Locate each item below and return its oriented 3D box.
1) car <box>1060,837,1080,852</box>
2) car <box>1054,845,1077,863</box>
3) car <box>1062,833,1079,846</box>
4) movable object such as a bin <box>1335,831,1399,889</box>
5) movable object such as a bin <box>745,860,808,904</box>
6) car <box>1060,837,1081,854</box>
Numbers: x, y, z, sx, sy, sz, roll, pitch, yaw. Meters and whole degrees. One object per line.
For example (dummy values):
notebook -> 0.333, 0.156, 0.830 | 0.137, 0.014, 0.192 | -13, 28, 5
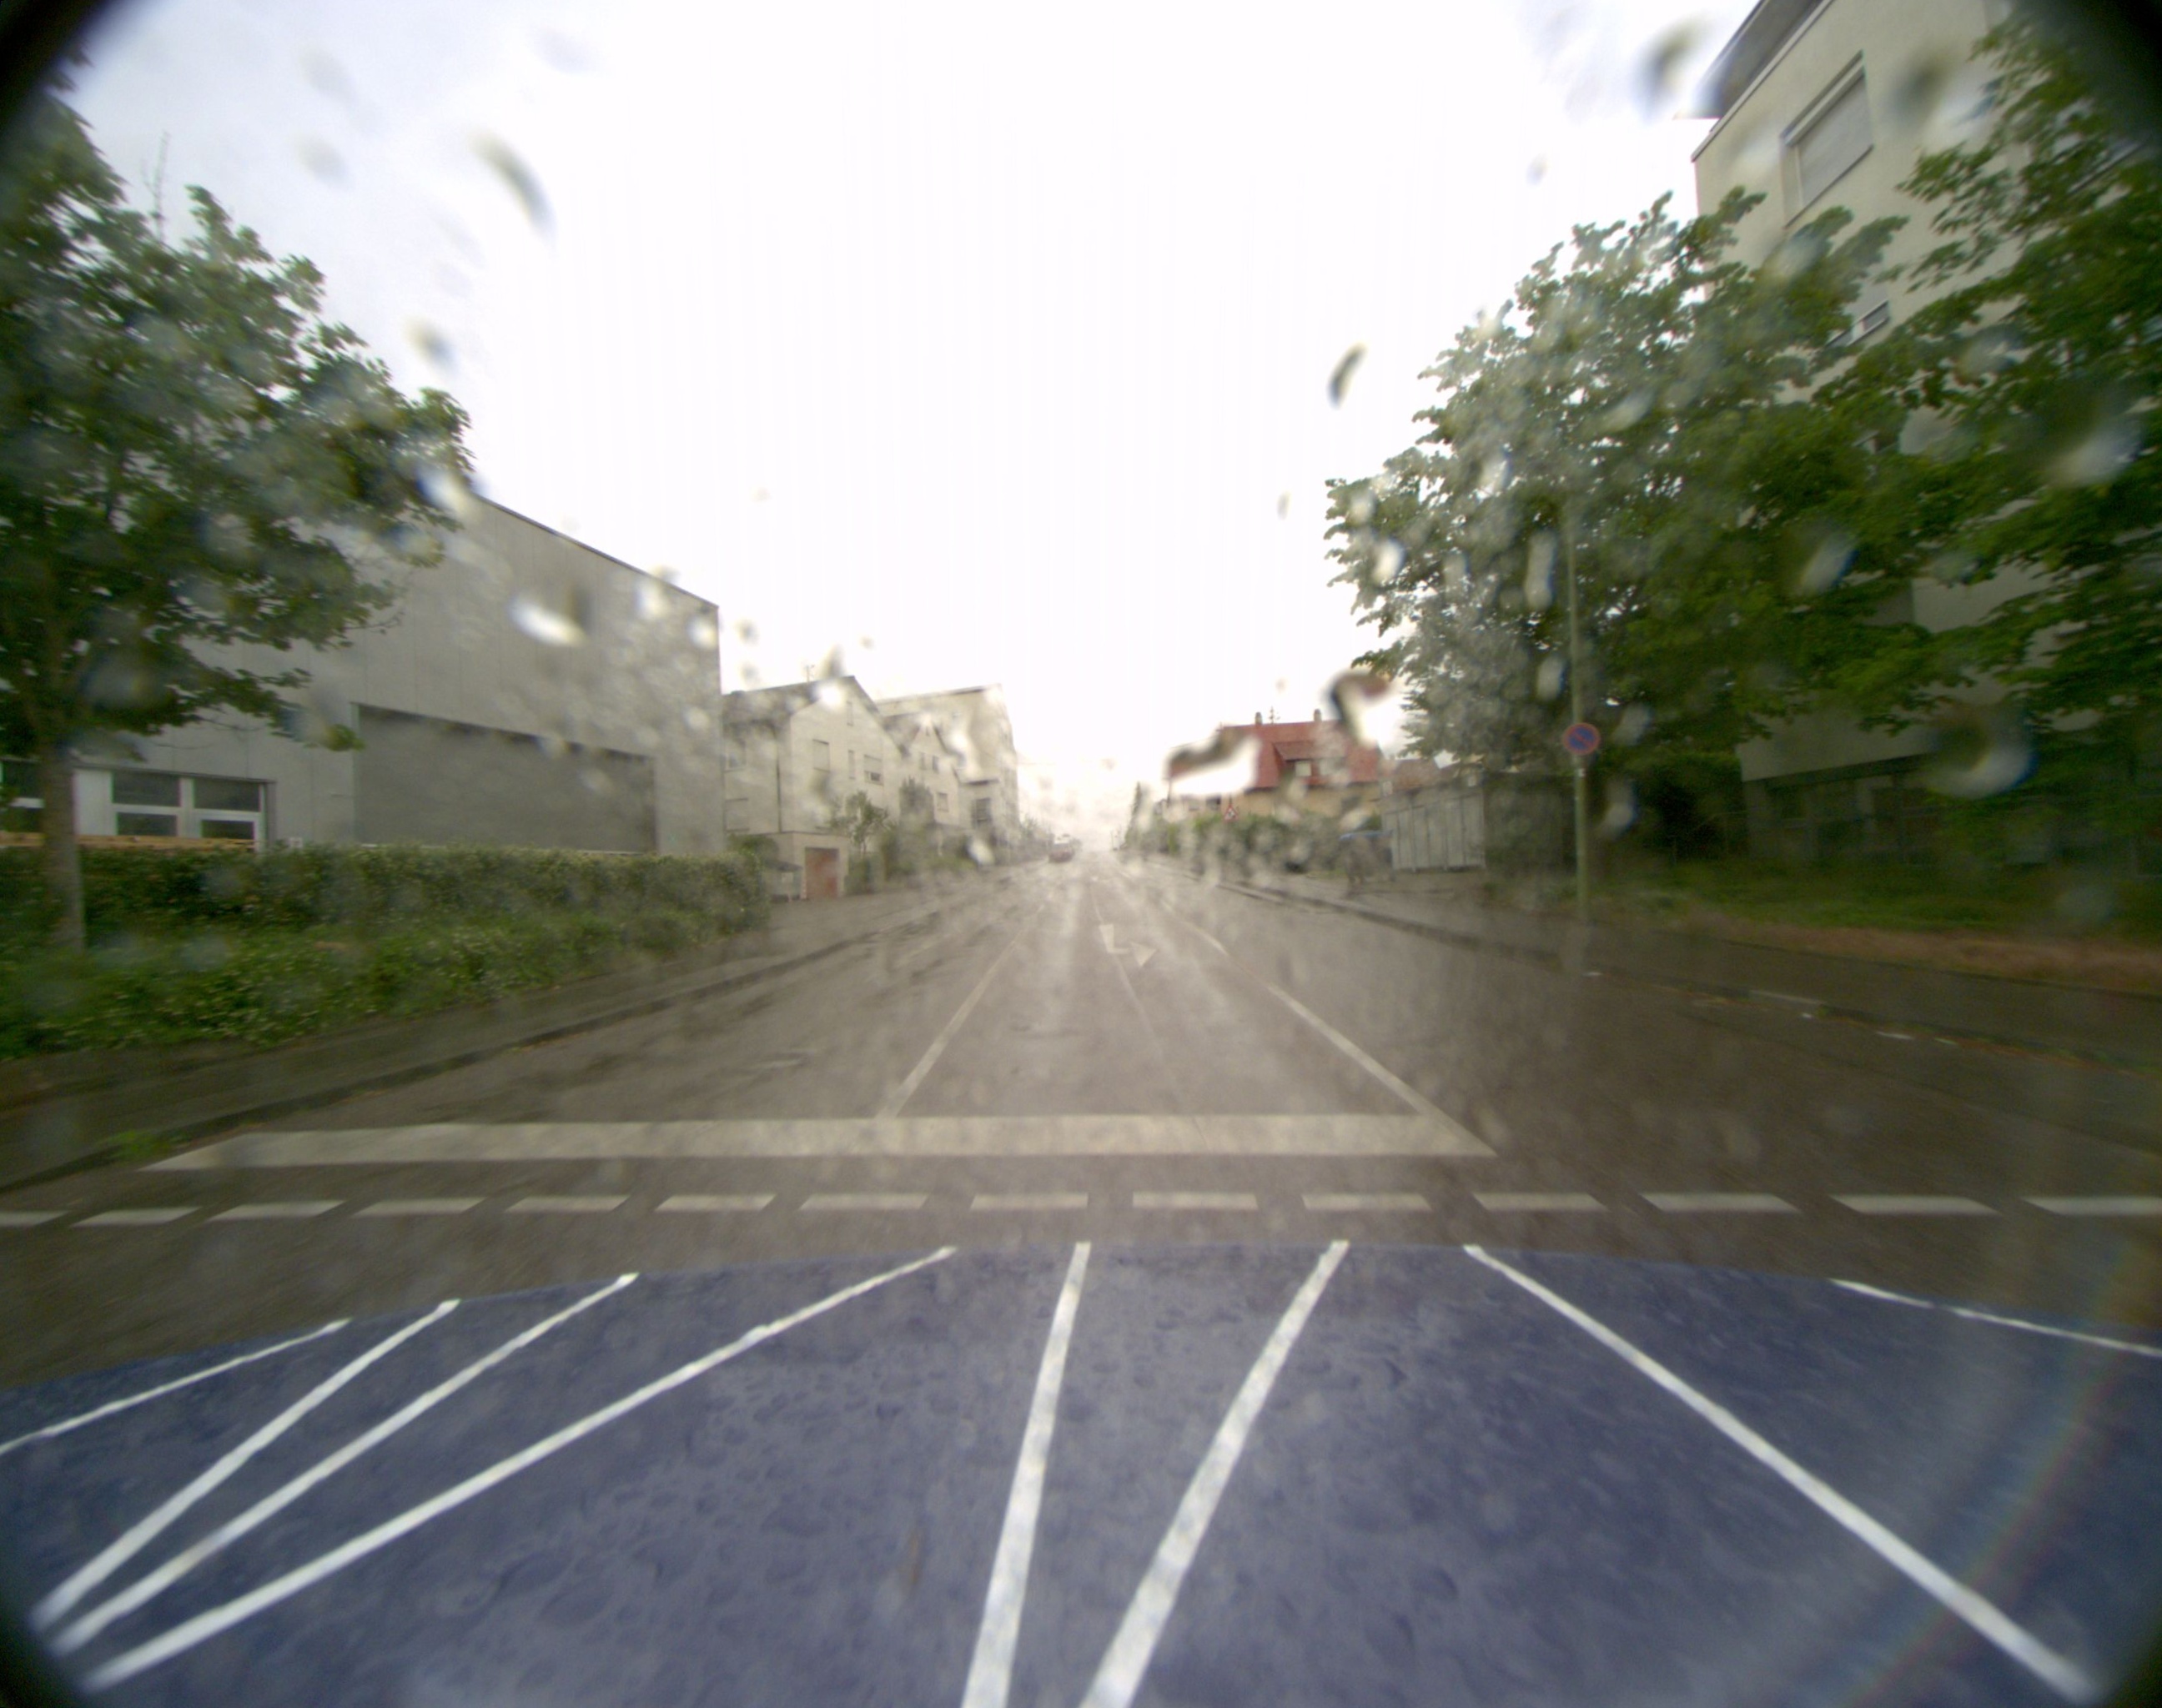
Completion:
car -> -1.175, -0.995, 82.911 | 1.848, 1.514, 4.000 | -3, 1, 2
car -> -1.416, -0.026, 70.293 | 1.848, 1.514, 4.000 | -3, 1, 2
car -> -1.298, -1.764, 95.148 | 1.848, 1.514, 4.000 | -3, 1, 2
movable object such as a bin -> 7.291, 0.150, 19.439 | 1.056, 1.289, 1.201 | -8, 0, 1
movable object such as a bin -> -11.362, 1.037, 28.369 | 1.446, 1.526, 1.591 | -2, 0, 16
car -> -0.991, -0.857, 75.427 | 1.848, 1.514, 4.000 | -3, 1, 2
